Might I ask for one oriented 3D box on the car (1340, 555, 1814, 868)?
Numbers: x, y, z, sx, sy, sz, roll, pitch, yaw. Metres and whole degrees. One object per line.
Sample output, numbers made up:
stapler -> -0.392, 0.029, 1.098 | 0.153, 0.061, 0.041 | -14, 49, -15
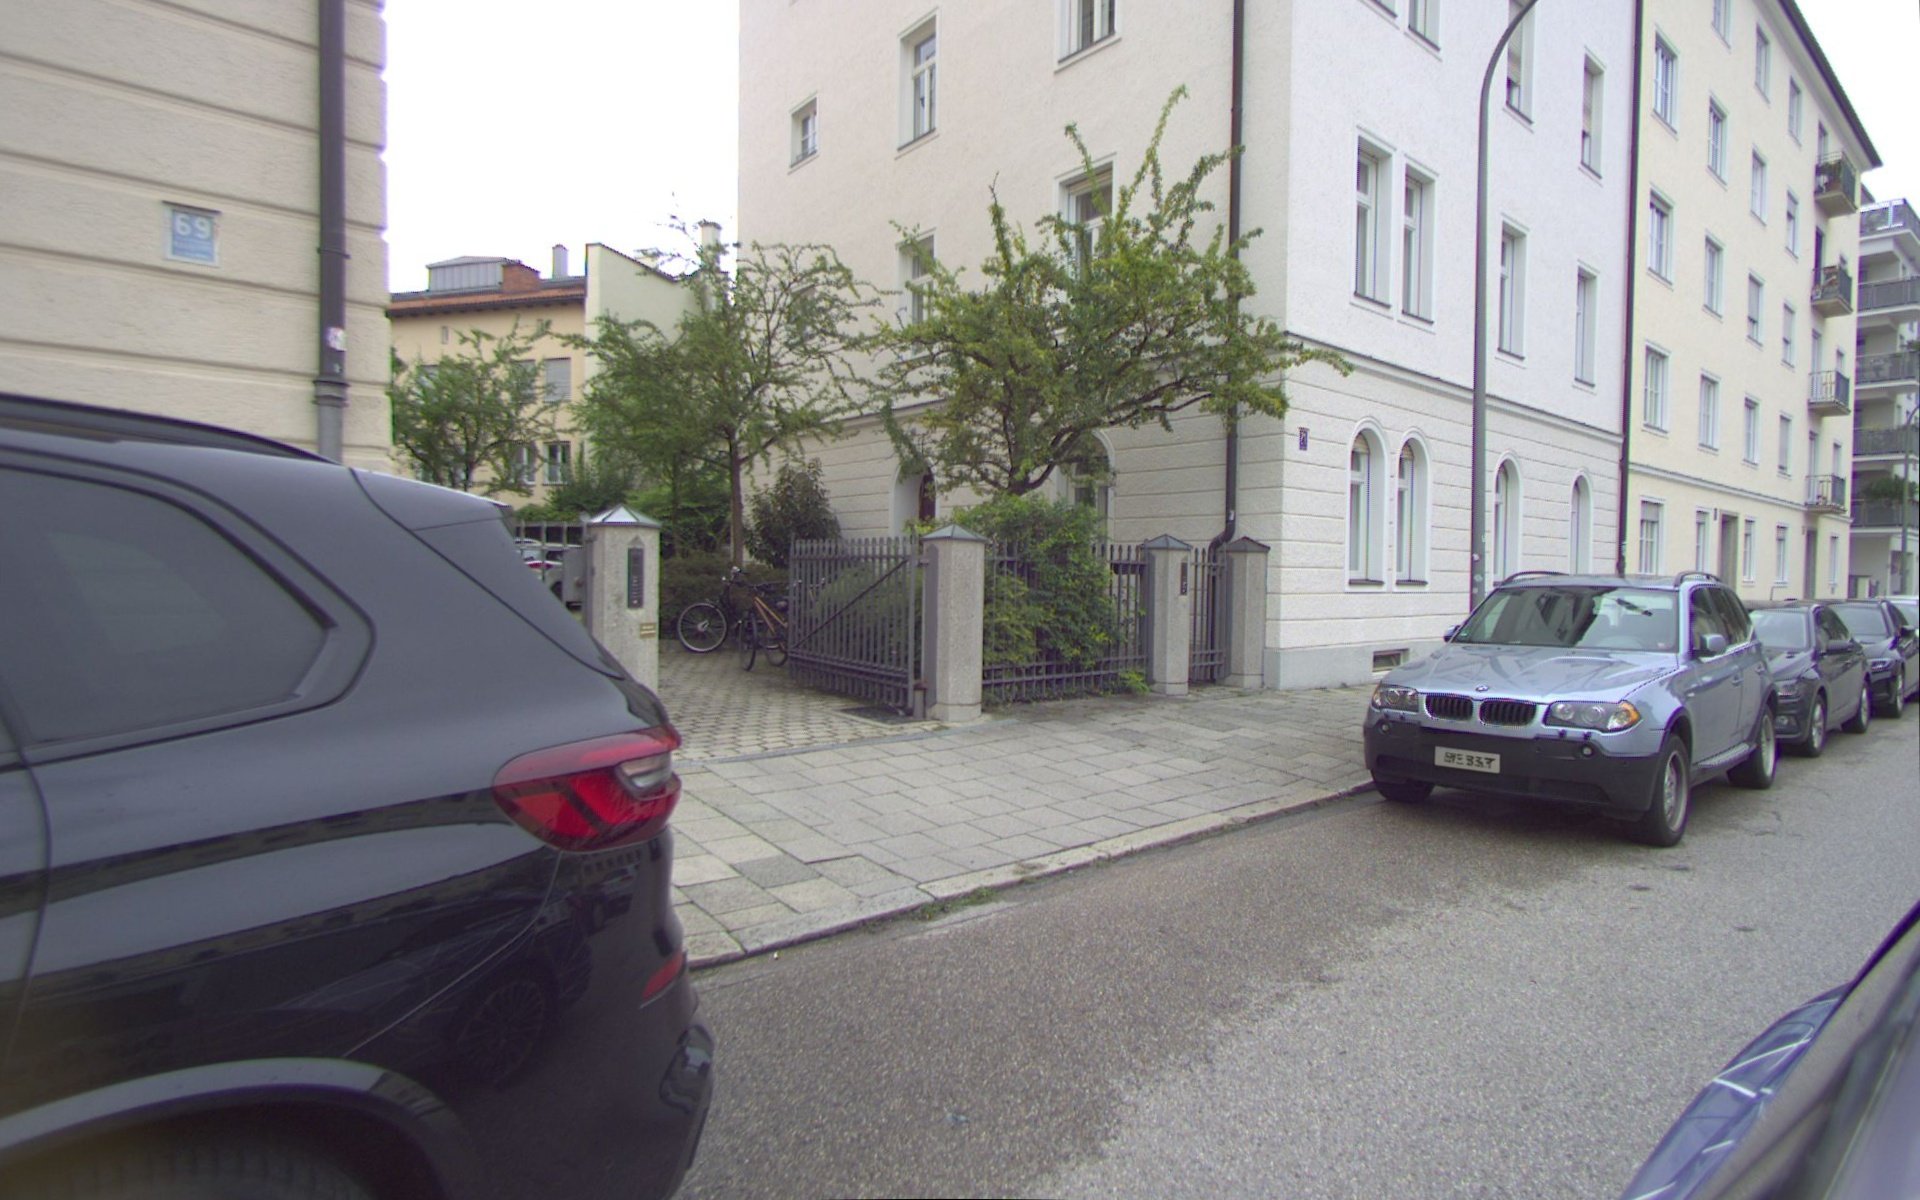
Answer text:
car -> 4.716, 0.539, 7.440 | 4.380, 1.654, 1.725 | -1, 2, -41

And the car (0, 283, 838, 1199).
car -> -2.638, 0.529, 0.997 | 4.780, 1.738, 1.872 | -1, 1, -40

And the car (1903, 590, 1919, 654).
car -> 23.552, 0.496, 23.714 | 4.366, 1.427, 1.682 | -1, 2, -41

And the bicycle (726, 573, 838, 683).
bicycle -> -2.115, 0.279, 11.811 | 0.570, 1.107, 1.880 | -1, 4, -34

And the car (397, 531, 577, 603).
car -> -11.417, -0.834, 24.800 | 1.904, 1.567, 4.231 | 2, 3, 11

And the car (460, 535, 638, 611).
car -> -9.204, -0.650, 23.071 | 1.754, 1.533, 4.231 | 2, 3, 11

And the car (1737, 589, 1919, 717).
car -> 12.250, 0.602, 13.942 | 4.316, 1.445, 1.682 | -1, 2, -42

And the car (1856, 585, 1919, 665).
car -> 19.895, 0.460, 20.851 | 4.096, 1.500, 1.682 | -1, 2, -42

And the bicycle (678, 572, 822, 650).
bicycle -> -2.967, 0.131, 14.391 | 1.916, 1.027, 0.581 | -2, 1, -35

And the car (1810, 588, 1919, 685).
car -> 15.939, 0.550, 17.244 | 4.096, 1.445, 1.682 | -1, 2, -42

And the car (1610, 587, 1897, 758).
car -> 8.583, 0.610, 10.819 | 4.016, 1.445, 1.682 | -1, 2, -41
